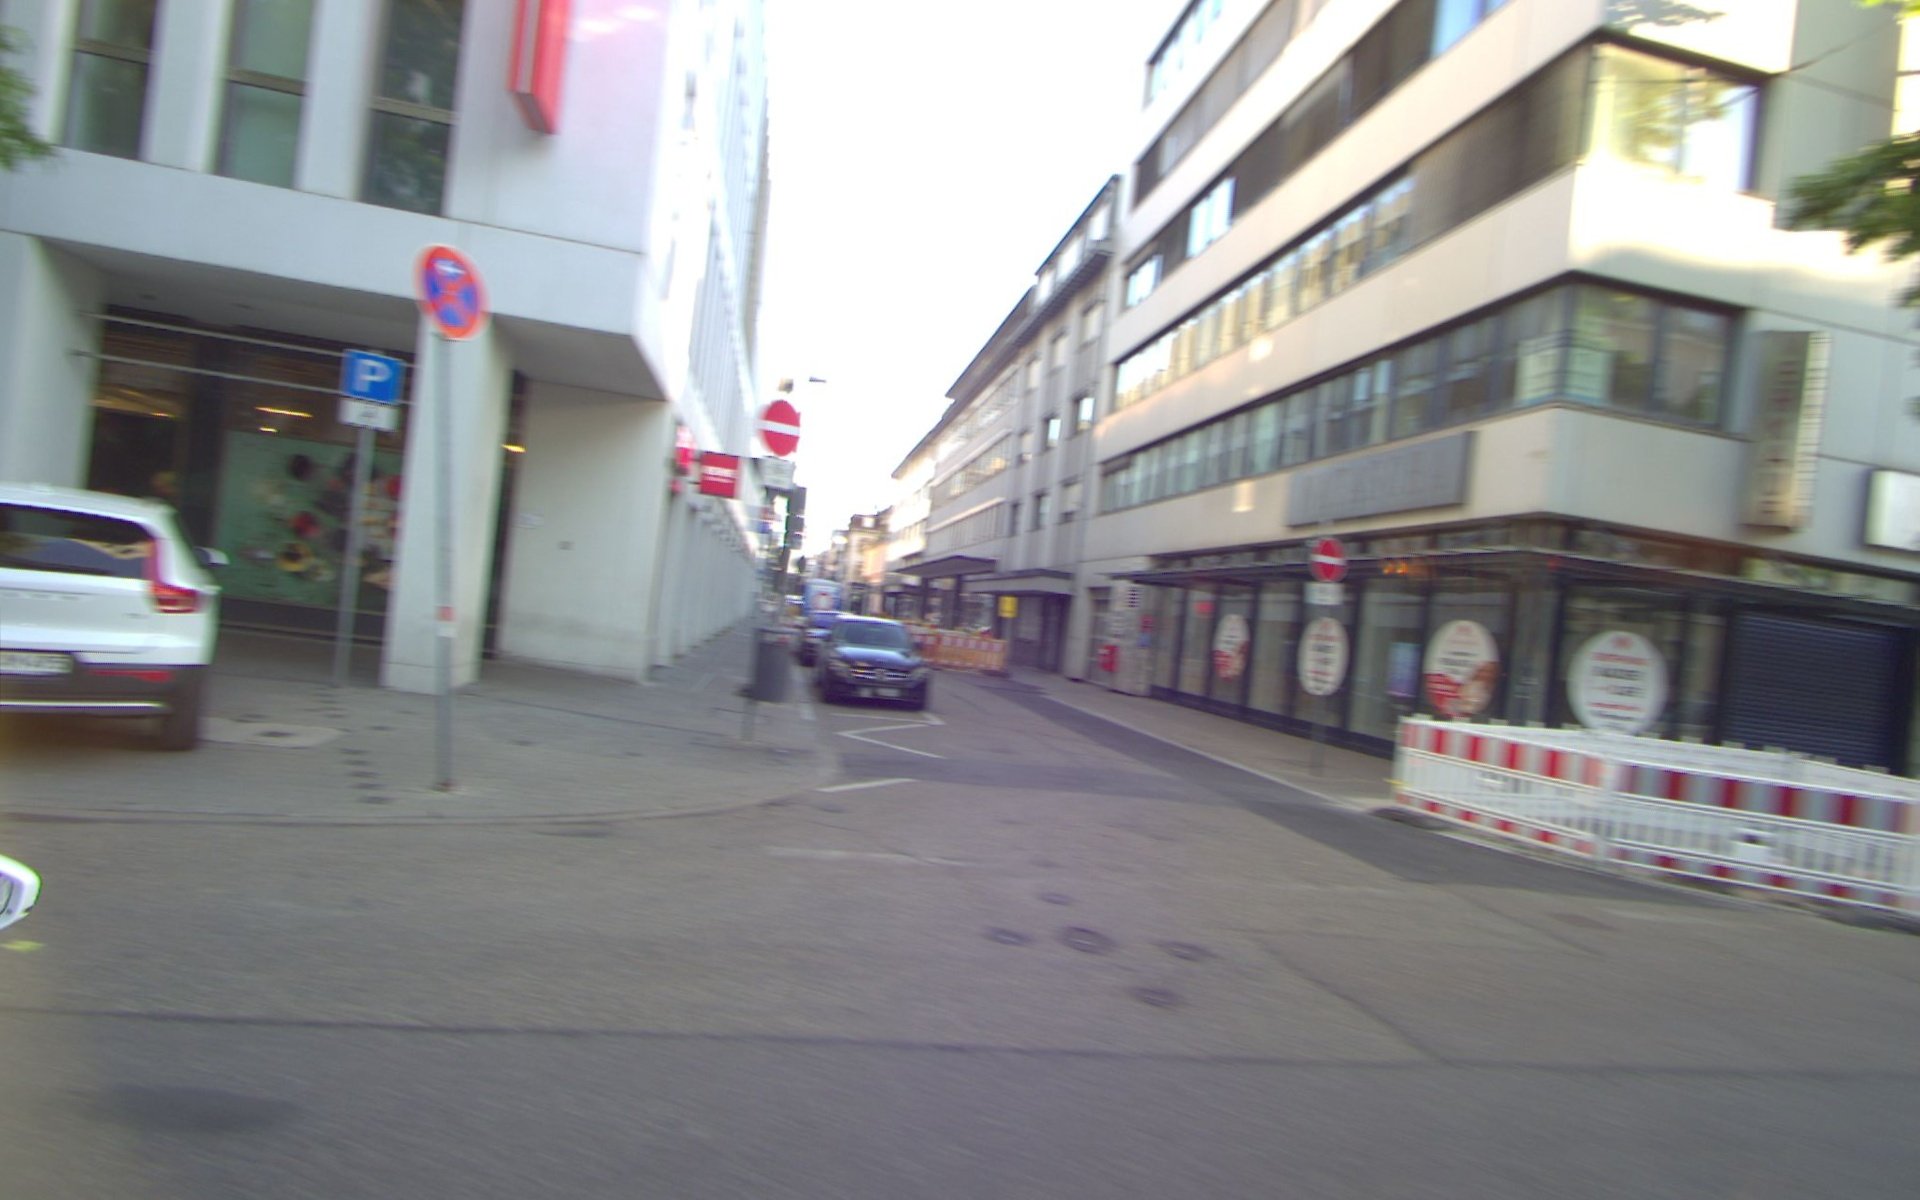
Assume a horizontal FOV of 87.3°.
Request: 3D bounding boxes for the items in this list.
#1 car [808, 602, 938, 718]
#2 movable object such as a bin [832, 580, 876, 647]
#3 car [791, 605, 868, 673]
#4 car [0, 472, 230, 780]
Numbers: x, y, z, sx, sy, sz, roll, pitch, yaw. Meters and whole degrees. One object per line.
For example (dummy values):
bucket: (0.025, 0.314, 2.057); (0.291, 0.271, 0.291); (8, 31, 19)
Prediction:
car: (-1.668, 0.973, 17.817); (1.871, 1.632, 4.147); (6, -1, -9)
movable object such as a bin: (-4.317, 0.572, 41.273); (1.415, 2.524, 1.757); (7, 0, -2)
car: (-3.512, 0.988, 26.755); (1.749, 1.493, 4.147); (6, -1, -9)
car: (-6.594, -0.020, 7.288); (1.933, 1.694, 4.230); (5, 2, -35)
